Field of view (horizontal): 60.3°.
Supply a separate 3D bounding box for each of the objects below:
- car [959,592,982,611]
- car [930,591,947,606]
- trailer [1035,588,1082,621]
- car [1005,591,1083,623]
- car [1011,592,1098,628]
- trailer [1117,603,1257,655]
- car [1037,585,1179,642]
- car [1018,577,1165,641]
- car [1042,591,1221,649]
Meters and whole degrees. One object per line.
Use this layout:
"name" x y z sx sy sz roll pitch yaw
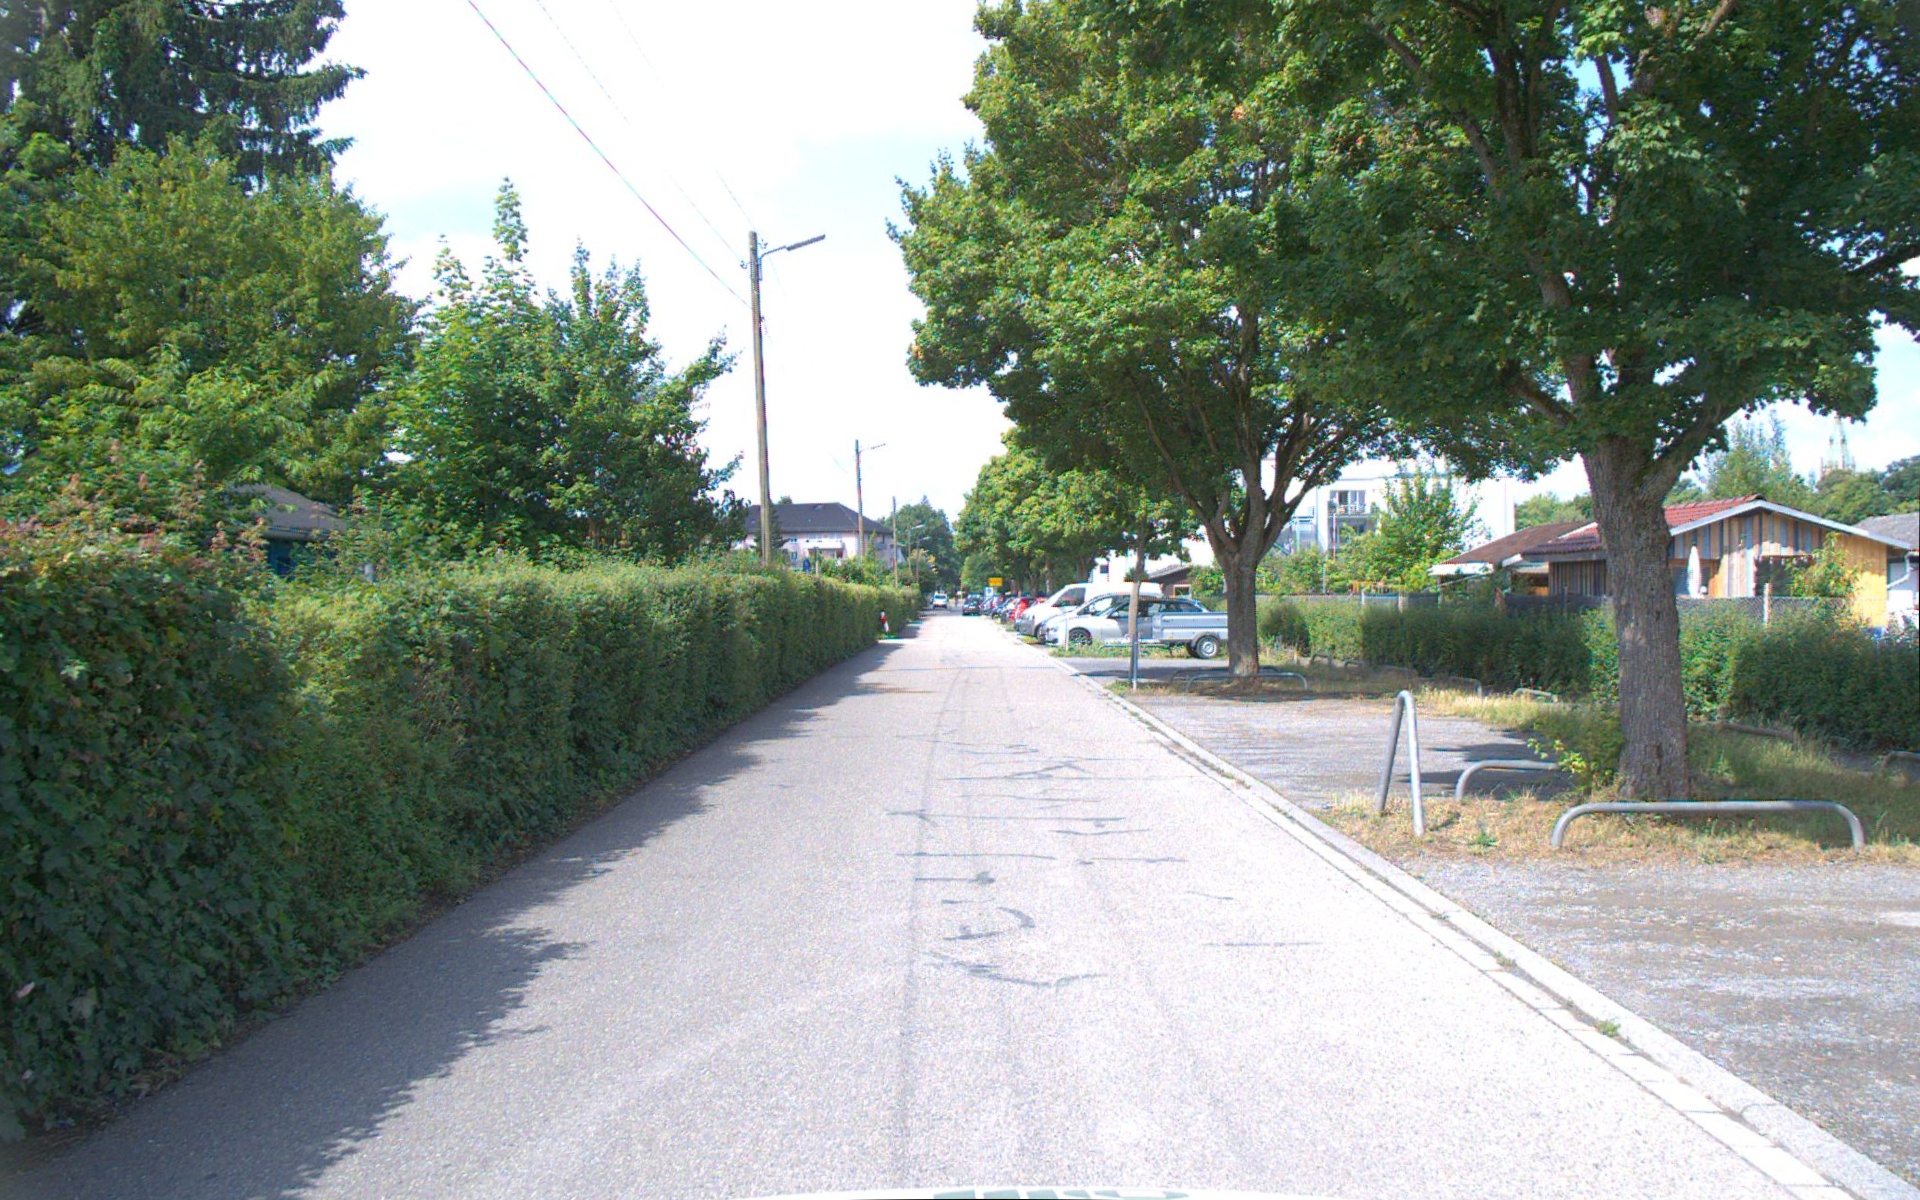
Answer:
"car" 0.891 0.162 137.998 1.628 1.532 4.002 1 0 5
"car" -2.626 -0.218 206.457 1.863 1.846 4.001 1 0 2
"trailer" 5.387 0.254 90.515 2.401 1.750 1.517 1 1 -4
"car" 4.380 0.362 86.294 3.980 1.538 1.958 1 0 2
"car" 4.330 0.460 76.005 3.903 1.546 1.855 1 0 3
"trailer" 5.325 0.671 39.182 3.036 1.162 2.000 1 0 0
"car" 4.499 0.398 50.866 4.156 1.620 2.000 -1 0 0
"car" 4.218 0.269 53.609 4.541 1.919 2.111 -1 0 -2
"car" 4.503 0.504 43.909 4.487 1.491 1.999 0 0 -4
